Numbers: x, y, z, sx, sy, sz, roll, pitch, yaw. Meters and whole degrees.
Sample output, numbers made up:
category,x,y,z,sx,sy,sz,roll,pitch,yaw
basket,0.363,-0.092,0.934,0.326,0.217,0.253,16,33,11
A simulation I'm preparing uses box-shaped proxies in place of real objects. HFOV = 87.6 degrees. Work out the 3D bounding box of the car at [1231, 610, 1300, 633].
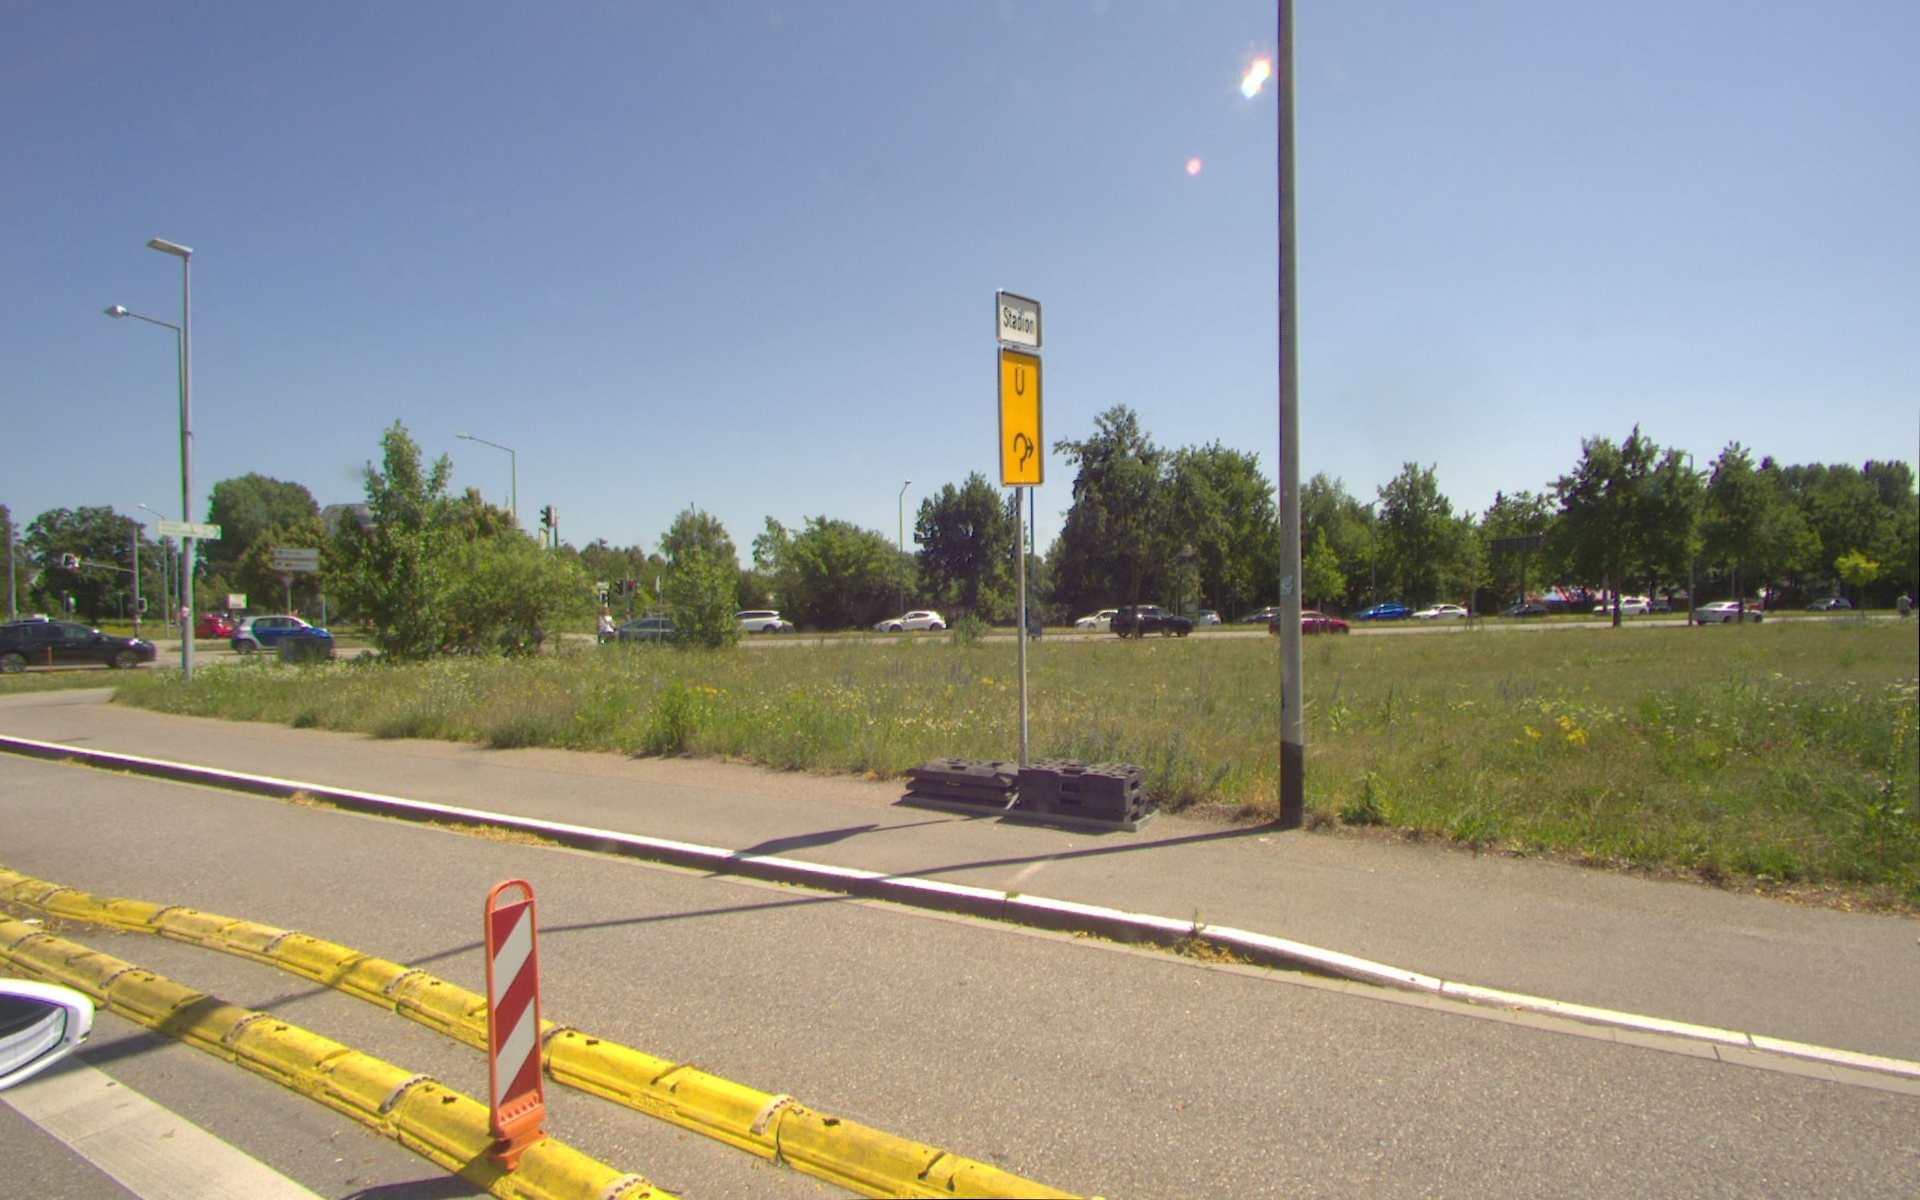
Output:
category,x,y,z,sx,sy,sz,roll,pitch,yaw
car,21.498,1.523,70.549,4.366,1.612,1.846,0,-2,-16

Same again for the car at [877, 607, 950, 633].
category,x,y,z,sx,sy,sz,roll,pitch,yaw
car,-2.984,1.294,63.796,4.366,1.612,1.846,0,-2,-16

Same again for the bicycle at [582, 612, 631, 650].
category,x,y,z,sx,sy,sz,roll,pitch,yaw
bicycle,-13.139,1.170,37.300,0.628,1.370,2.896,0,-2,4

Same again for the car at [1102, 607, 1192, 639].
category,x,y,z,sx,sy,sz,roll,pitch,yaw
car,10.033,1.214,53.719,4.340,1.617,1.997,0,0,-16

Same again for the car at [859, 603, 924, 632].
category,x,y,z,sx,sy,sz,roll,pitch,yaw
car,-4.574,1.190,66.341,4.074,1.840,1.662,0,-2,-15

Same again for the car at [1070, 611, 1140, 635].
category,x,y,z,sx,sy,sz,roll,pitch,yaw
car,9.779,1.556,67.570,4.366,1.612,1.846,0,-2,-16

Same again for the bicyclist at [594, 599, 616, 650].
category,x,y,z,sx,sy,sz,roll,pitch,yaw
bicyclist,-13.166,0.900,37.165,0.597,1.864,0.572,0,-1,2

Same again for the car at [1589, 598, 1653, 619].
category,x,y,z,sx,sy,sz,roll,pitch,yaw
car,52.629,0.664,79.707,4.366,1.612,1.846,0,-2,-17

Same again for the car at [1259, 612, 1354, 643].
category,x,y,z,sx,sy,sz,roll,pitch,yaw
car,18.103,1.438,52.356,4.340,1.546,1.998,0,-2,-15

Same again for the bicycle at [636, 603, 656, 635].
category,x,y,z,sx,sy,sz,roll,pitch,yaw
bicycle,-16.767,1.042,53.562,0.967,1.617,2.879,0,-2,-16

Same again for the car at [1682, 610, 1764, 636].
category,x,y,z,sx,sy,sz,roll,pitch,yaw
car,46.751,1.386,61.382,4.344,1.547,1.995,0,0,-20

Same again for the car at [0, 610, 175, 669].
category,x,y,z,sx,sy,sz,roll,pitch,yaw
car,-26.551,1.140,30.432,1.706,1.573,3.971,2,2,38

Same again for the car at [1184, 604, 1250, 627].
category,x,y,z,sx,sy,sz,roll,pitch,yaw
car,18.864,1.113,73.567,4.365,1.613,1.845,0,0,-16

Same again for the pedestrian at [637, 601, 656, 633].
category,x,y,z,sx,sy,sz,roll,pitch,yaw
pedestrian,-16.723,0.907,53.424,0.954,1.681,0.885,0,-1,-16

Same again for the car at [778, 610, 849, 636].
category,x,y,z,sx,sy,sz,roll,pitch,yaw
car,-9.530,1.492,64.894,4.366,1.612,1.846,0,-2,-16

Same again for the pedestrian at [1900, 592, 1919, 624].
category,x,y,z,sx,sy,sz,roll,pitch,yaw
pedestrian,49.725,0.421,52.379,0.548,1.611,0.662,1,-1,-32

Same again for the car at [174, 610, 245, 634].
category,x,y,z,sx,sy,sz,roll,pitch,yaw
car,-53.105,1.593,70.880,4.269,1.675,1.899,-1,-2,18

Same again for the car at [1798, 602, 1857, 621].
category,x,y,z,sx,sy,sz,roll,pitch,yaw
car,76.580,0.991,88.386,4.366,1.612,1.846,0,-2,-16

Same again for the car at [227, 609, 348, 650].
category,x,y,z,sx,sy,sz,roll,pitch,yaw
car,-27.281,1.218,40.678,3.956,1.572,1.714,1,-2,-40

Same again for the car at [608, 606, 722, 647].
category,x,y,z,sx,sy,sz,roll,pitch,yaw
car,-12.456,1.095,42.368,4.352,1.617,1.991,0,1,-27

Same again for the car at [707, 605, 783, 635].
category,x,y,z,sx,sy,sz,roll,pitch,yaw
car,-13.014,1.247,60.491,4.365,1.758,1.846,0,-2,-16

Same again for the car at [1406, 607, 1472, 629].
category,x,y,z,sx,sy,sz,roll,pitch,yaw
car,35.928,1.342,75.153,4.366,1.612,1.846,0,-2,-16

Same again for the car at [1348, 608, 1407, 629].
category,x,y,z,sx,sy,sz,roll,pitch,yaw
car,32.186,1.416,77.208,3.927,1.558,1.764,0,-2,-14
